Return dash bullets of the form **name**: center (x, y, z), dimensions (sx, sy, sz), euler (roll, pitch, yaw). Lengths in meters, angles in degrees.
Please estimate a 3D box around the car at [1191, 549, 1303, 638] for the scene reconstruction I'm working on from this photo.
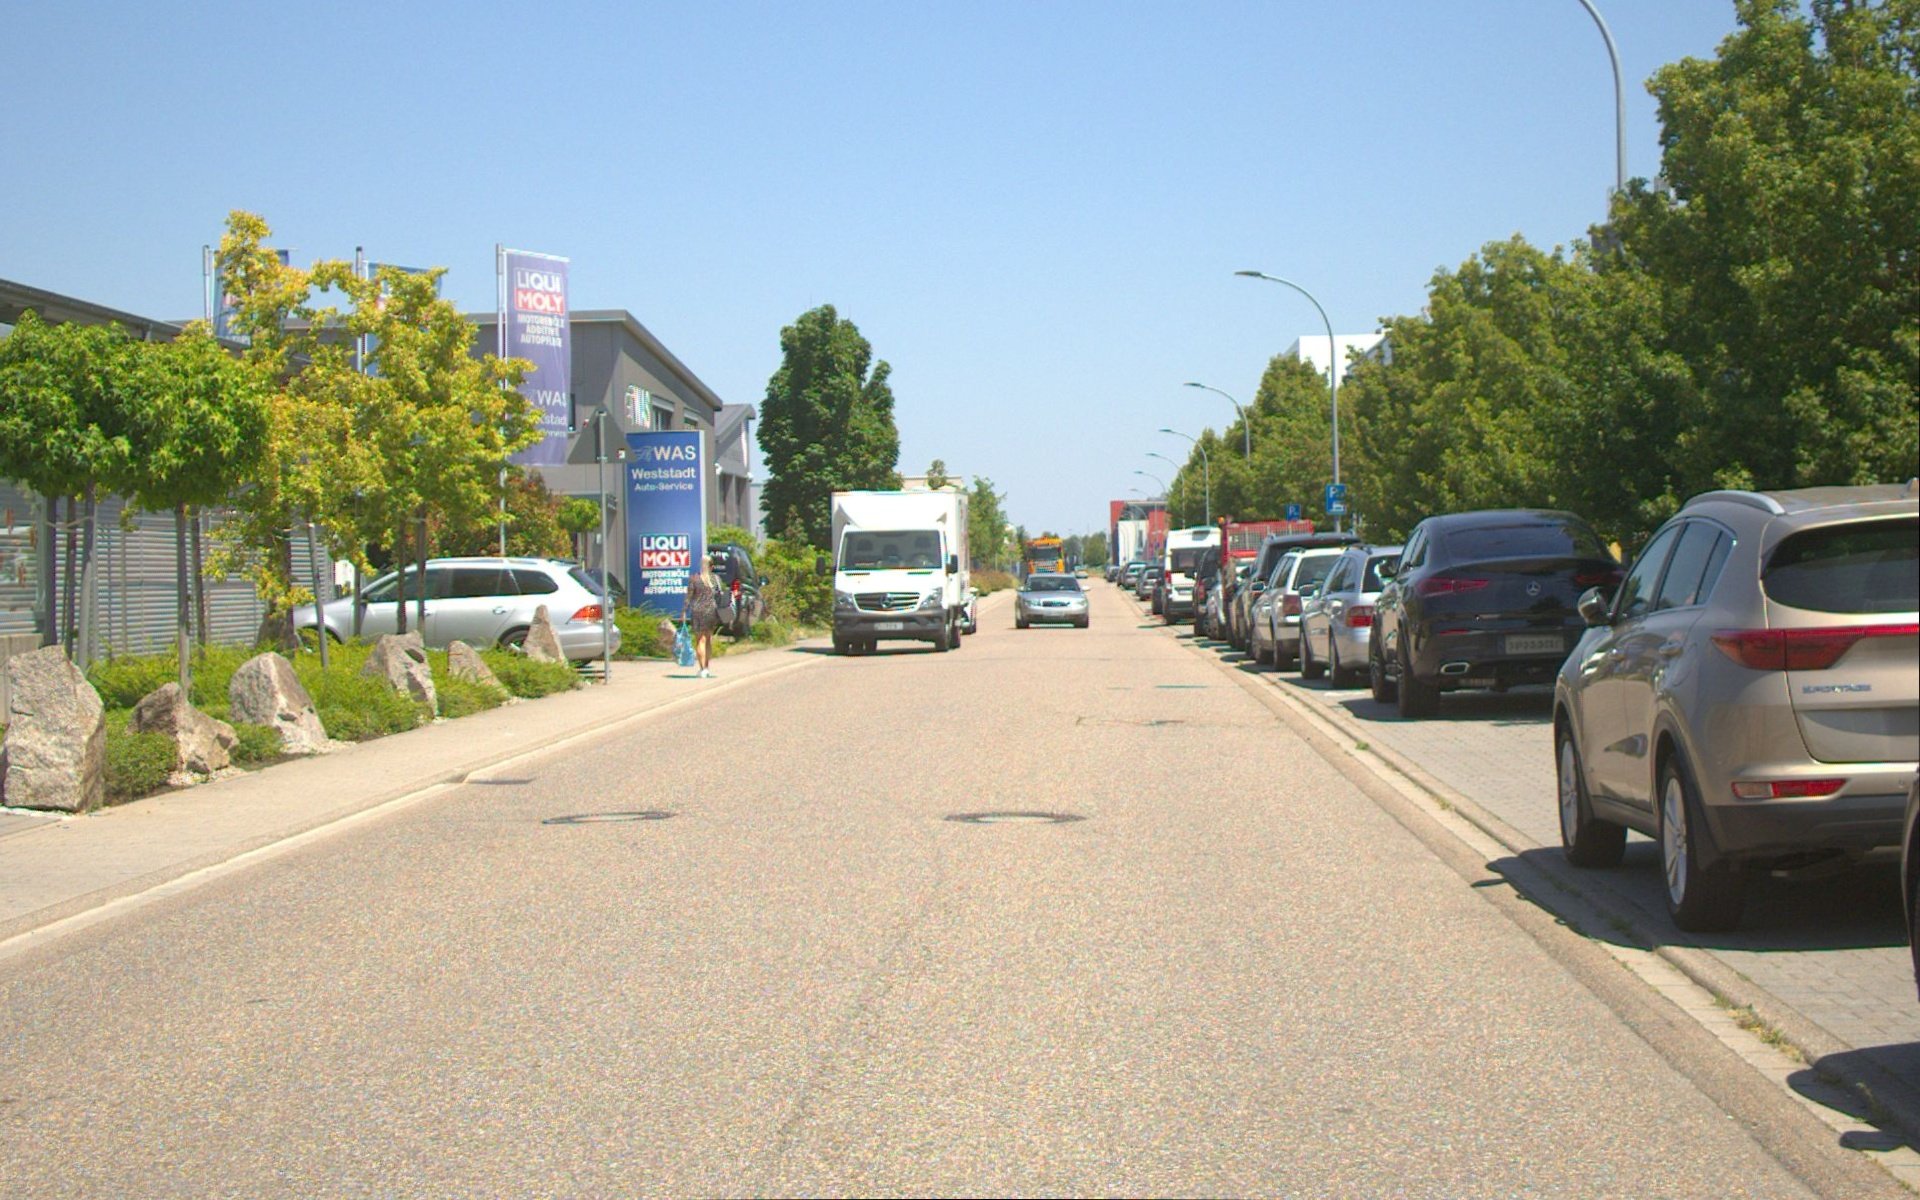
- **car**: center (5.369, -0.131, 64.731), dimensions (1.738, 1.525, 4.000), euler (-3, 0, 1)

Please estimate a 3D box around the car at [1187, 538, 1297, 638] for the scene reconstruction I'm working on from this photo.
- **car**: center (5.750, -0.257, 70.586), dimensions (1.994, 1.878, 5.155), euler (-3, 0, 3)

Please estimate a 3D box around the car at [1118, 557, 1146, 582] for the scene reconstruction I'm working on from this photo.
- **car**: center (10.277, -1.840, 205.393), dimensions (1.585, 1.405, 3.500), euler (-2, 1, 2)

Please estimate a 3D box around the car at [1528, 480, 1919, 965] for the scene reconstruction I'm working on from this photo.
- **car**: center (3.557, 0.359, 14.035), dimensions (1.805, 1.630, 4.458), euler (-3, 1, 2)

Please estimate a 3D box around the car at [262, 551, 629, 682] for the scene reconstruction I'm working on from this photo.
- **car**: center (-6.392, 0.194, 43.015), dimensions (4.262, 1.513, 1.866), euler (-1, 0, 1)

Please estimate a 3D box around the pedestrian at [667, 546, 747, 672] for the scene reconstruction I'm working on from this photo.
- **pedestrian**: center (-3.209, 0.104, 43.675), dimensions (0.899, 1.569, 0.785), euler (1, 1, 3)

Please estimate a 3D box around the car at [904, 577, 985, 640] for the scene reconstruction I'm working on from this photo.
- **car**: center (-0.342, 0.185, 82.386), dimensions (1.730, 1.453, 4.491), euler (-1, 0, 2)

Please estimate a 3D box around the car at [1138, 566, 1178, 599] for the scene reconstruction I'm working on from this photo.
- **car**: center (9.087, -0.830, 158.251), dimensions (1.718, 1.445, 3.646), euler (-2, 0, 2)

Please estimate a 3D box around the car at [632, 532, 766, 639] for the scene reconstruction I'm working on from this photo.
- **car**: center (-5.005, -0.285, 66.569), dimensions (1.993, 1.950, 5.218), euler (-1, 0, 2)

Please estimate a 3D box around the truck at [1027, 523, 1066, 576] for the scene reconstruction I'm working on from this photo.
- **truck**: center (6.018, -3.512, 238.752), dimensions (2.448, 3.501, 8.272), euler (-3, 1, 2)

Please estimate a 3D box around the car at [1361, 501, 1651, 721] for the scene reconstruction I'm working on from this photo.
- **car**: center (4.709, 0.053, 30.254), dimensions (1.949, 1.695, 4.545), euler (-3, 1, 3)

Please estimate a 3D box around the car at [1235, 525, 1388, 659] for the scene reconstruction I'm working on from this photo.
- **car**: center (4.939, -0.153, 48.818), dimensions (1.811, 1.719, 4.773), euler (-3, 1, 3)

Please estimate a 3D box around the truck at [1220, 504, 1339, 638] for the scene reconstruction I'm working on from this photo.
- **truck**: center (5.568, -0.501, 60.324), dimensions (1.679, 2.174, 4.390), euler (-3, 0, 2)

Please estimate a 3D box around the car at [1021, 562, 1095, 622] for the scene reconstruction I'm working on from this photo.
- **car**: center (2.541, -0.210, 89.178), dimensions (1.783, 1.417, 4.413), euler (-3, 0, 2)

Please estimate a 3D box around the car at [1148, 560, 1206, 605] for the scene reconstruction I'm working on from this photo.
- **car**: center (7.691, -0.608, 121.413), dimensions (1.709, 1.499, 4.704), euler (-2, 0, 7)

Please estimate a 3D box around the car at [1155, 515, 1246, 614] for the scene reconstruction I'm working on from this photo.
- **car**: center (6.425, -0.943, 91.788), dimensions (2.268, 2.489, 6.151), euler (-2, 0, 4)

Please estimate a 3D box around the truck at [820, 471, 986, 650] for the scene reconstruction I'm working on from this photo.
- **truck**: center (-0.922, -0.670, 60.428), dimensions (2.362, 2.850, 6.414), euler (-3, 0, 3)

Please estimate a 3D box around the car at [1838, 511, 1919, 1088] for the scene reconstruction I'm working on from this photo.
- **car**: center (3.498, 0.504, 7.296), dimensions (1.904, 1.523, 4.630), euler (-3, 1, -1)

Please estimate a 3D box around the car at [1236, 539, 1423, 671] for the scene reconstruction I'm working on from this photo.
- **car**: center (4.585, 0.029, 43.268), dimensions (1.714, 1.478, 4.774), euler (-3, 1, -1)

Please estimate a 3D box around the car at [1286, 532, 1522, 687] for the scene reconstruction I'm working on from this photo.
- **car**: center (4.723, 0.064, 37.198), dimensions (1.804, 1.478, 4.774), euler (-3, 1, -1)

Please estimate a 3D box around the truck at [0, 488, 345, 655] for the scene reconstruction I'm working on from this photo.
- **truck**: center (-17.526, -0.645, 75.981), dimensions (8.051, 3.544, 2.582), euler (0, 1, 31)
